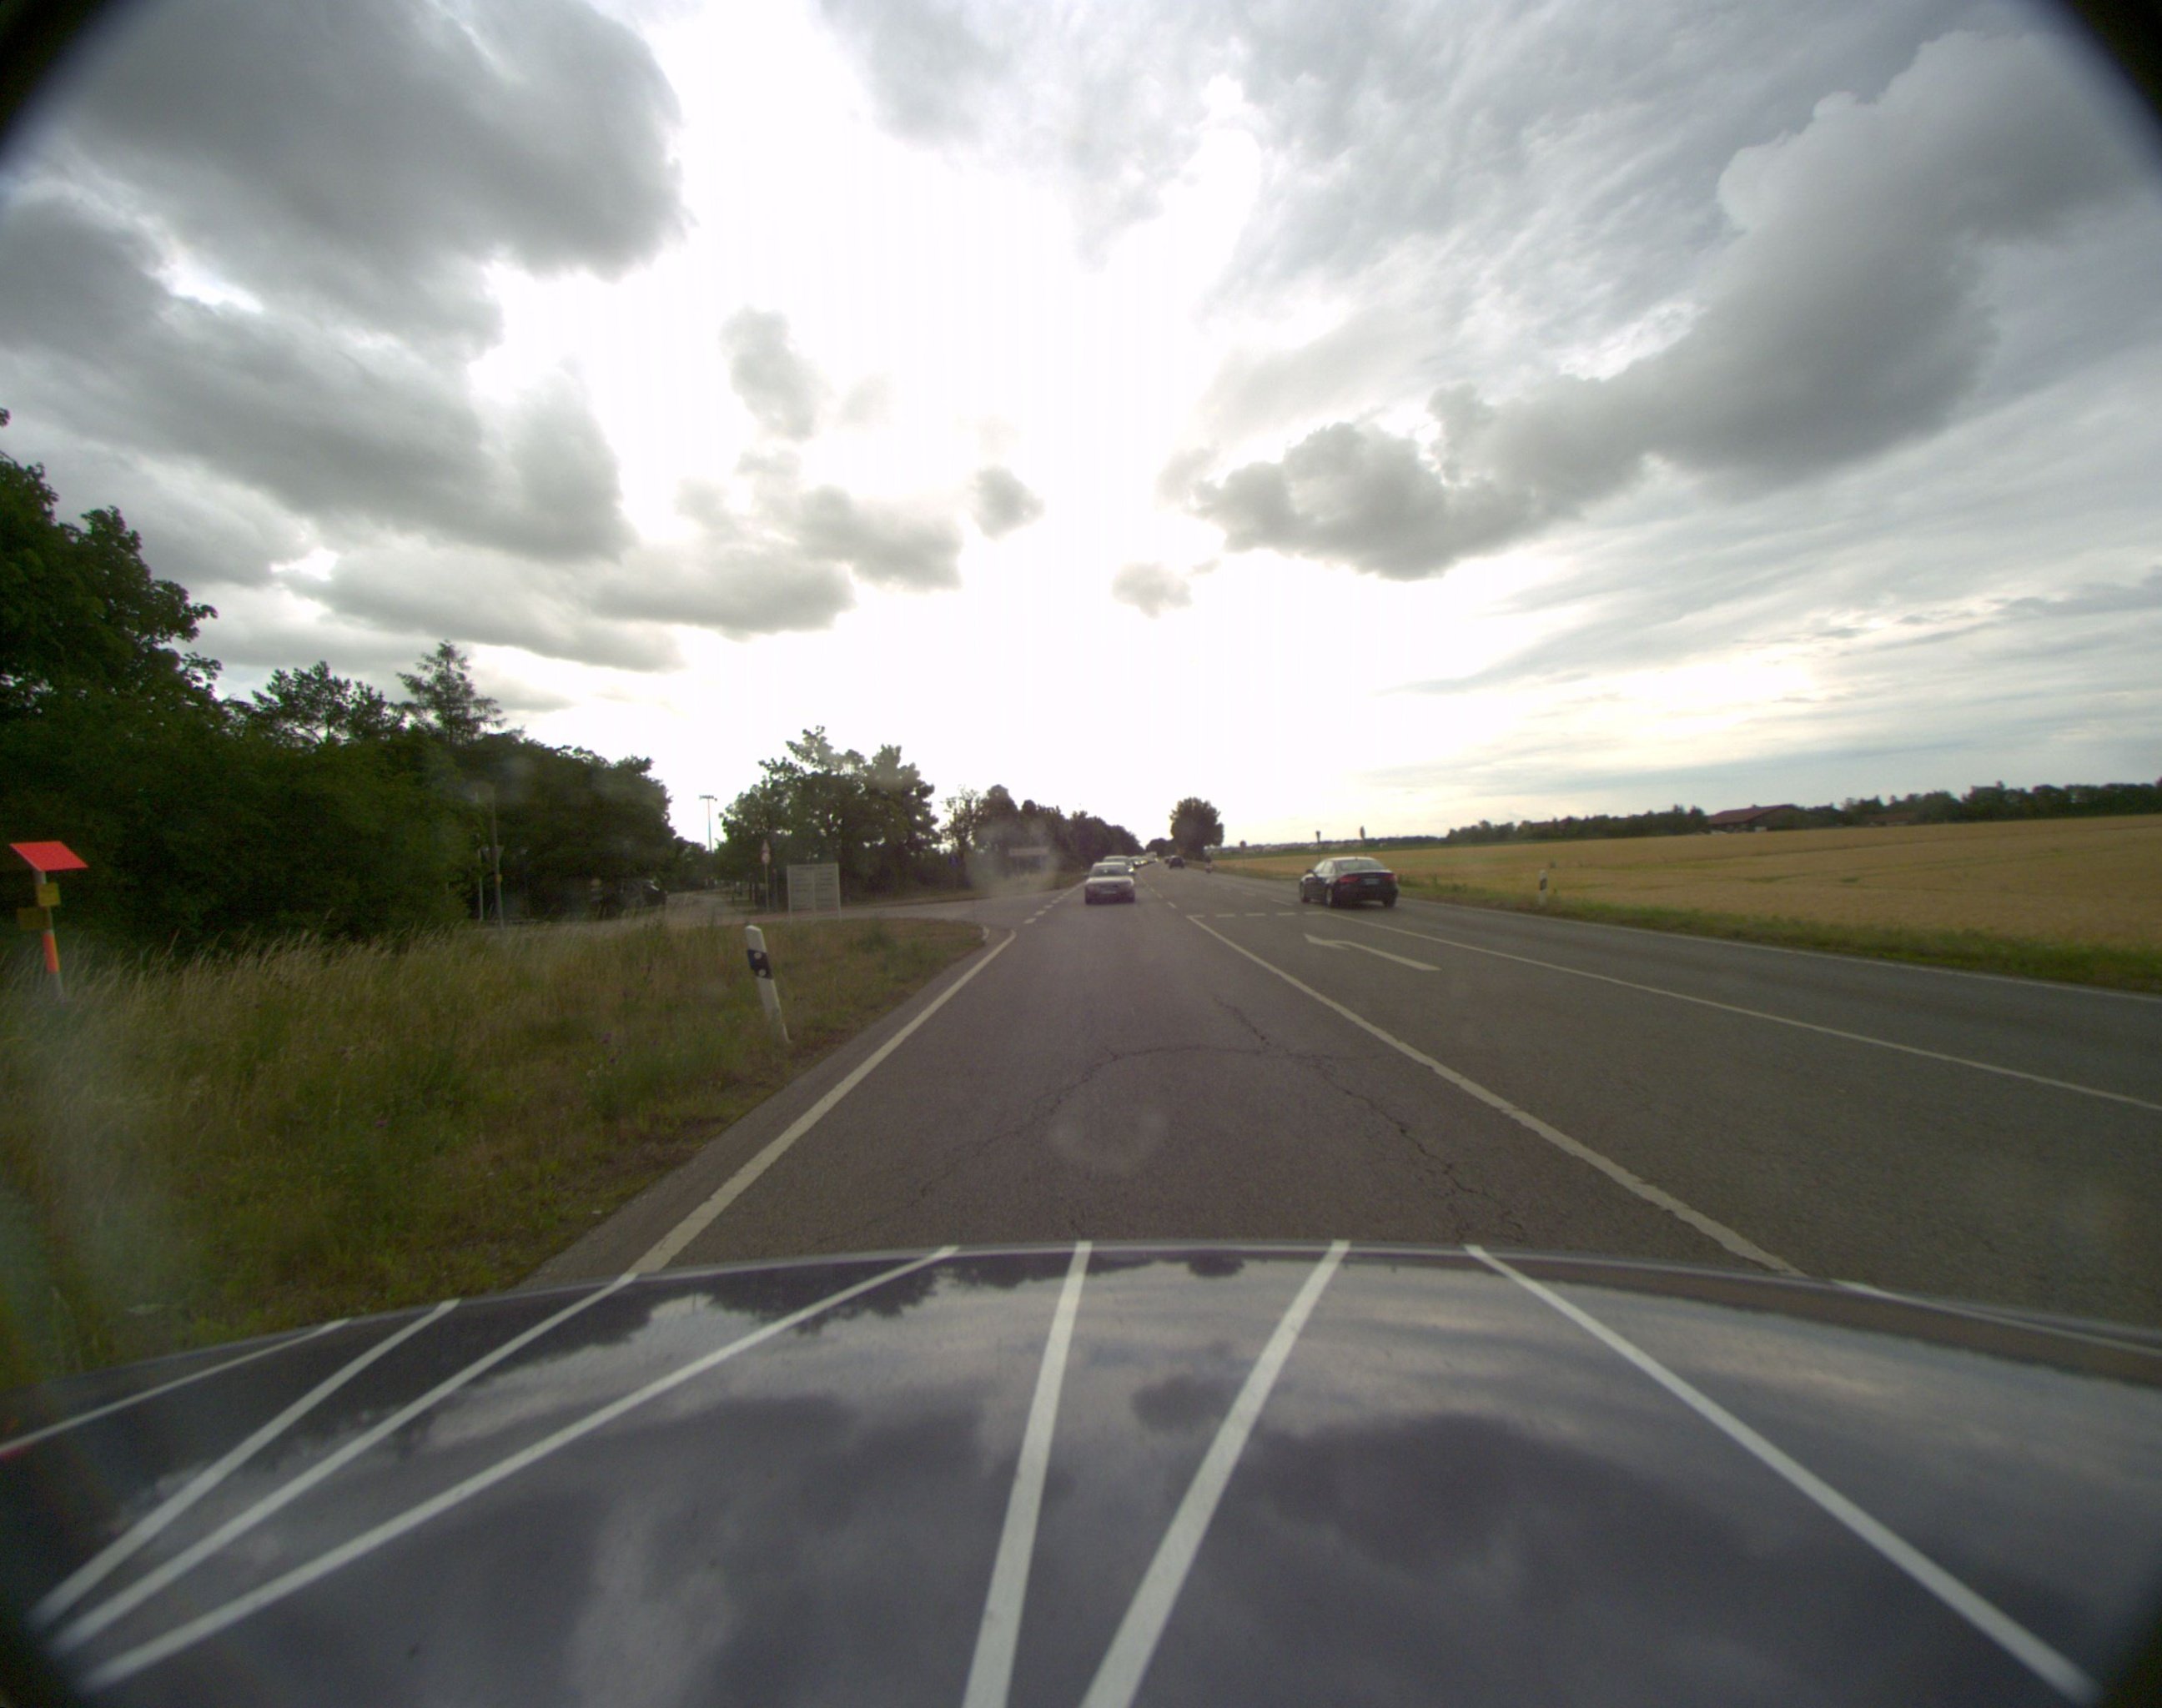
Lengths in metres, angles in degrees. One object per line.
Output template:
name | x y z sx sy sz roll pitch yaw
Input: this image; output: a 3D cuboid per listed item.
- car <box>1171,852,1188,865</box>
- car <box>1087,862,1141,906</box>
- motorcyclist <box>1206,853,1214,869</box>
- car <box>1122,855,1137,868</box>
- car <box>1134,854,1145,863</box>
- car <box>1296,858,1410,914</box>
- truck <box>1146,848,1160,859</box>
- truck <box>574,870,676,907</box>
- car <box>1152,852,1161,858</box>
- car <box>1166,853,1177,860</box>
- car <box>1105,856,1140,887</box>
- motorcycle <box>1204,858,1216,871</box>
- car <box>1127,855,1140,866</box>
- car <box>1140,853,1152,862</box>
car | 12.885 0.571 99.850 1.951 1.684 4.448 -2 0 4
car | 1.297 1.041 28.233 1.793 1.415 4.369 -2 0 5
motorcyclist | 11.470 0.631 67.615 0.641 1.376 0.809 -2 1 3
car | 6.188 0.899 96.405 1.793 1.573 4.369 -2 0 5
car | 10.659 0.757 138.487 1.793 1.573 4.139 -2 0 6
car | 7.766 0.844 22.183 1.831 1.402 4.425 -2 0 2
truck | 19.459 -0.275 204.832 2.317 2.749 7.681 -2 0 15
truck | -45.444 3.376 76.110 8.382 3.091 3.067 -2 0 -25
car | 18.528 0.287 186.460 1.792 1.530 4.140 -2 0 11
car | 19.785 0.585 165.622 1.997 1.501 4.003 -1 0 10
car | 2.307 0.941 42.735 1.793 1.573 4.368 -2 0 3
motorcycle | 11.481 0.944 67.627 0.727 1.142 2.025 -2 0 3
car | 7.505 0.918 108.369 1.793 1.573 4.188 -2 0 5
car | 13.204 0.704 154.192 1.953 1.573 4.140 -2 0 11
